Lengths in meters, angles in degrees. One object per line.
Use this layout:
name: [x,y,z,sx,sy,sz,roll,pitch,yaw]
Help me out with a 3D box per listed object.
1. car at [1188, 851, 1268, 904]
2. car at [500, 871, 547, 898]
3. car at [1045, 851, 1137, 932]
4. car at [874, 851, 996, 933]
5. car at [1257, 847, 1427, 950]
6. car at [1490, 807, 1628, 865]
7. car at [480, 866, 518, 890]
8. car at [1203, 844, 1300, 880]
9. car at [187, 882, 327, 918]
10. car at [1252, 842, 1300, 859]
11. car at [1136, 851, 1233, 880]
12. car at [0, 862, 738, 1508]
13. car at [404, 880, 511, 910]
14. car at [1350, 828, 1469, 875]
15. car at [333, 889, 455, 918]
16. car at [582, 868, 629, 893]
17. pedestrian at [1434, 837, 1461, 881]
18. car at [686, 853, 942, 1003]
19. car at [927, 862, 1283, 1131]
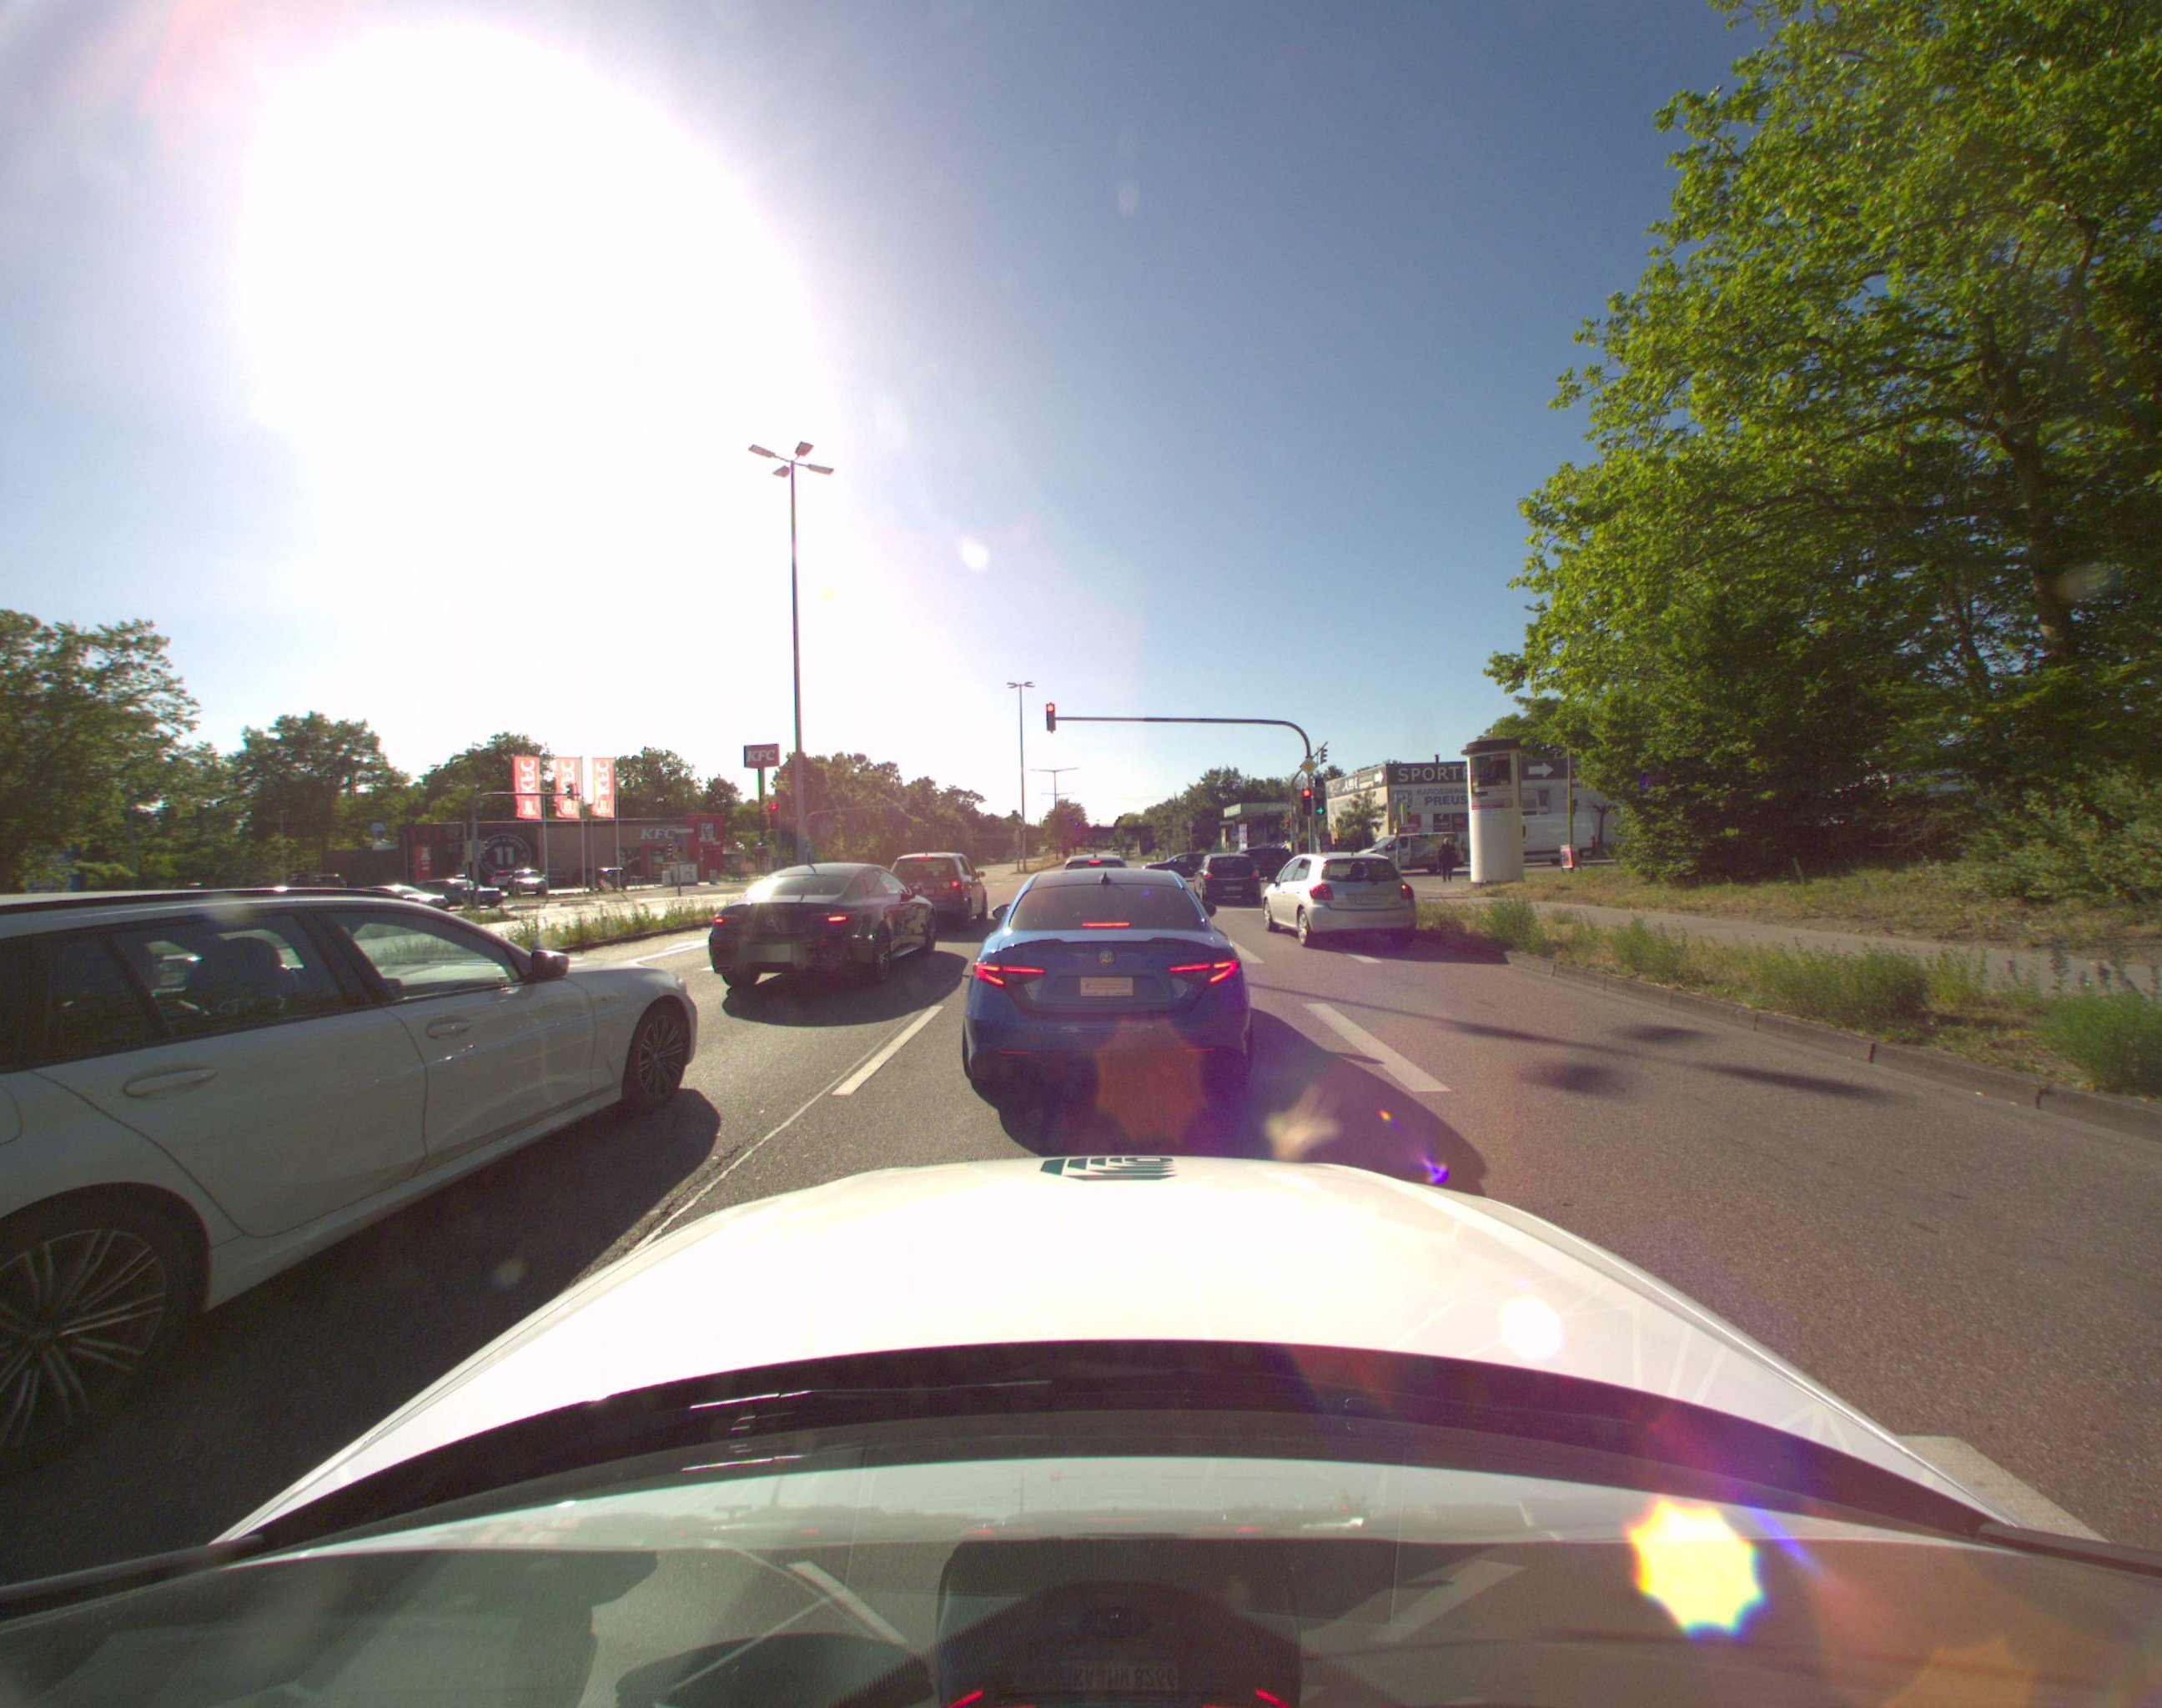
car: [4.316,0.660,24.501,1.727,1.442,4.373,0,0,2]
car: [-37.366,2.016,54.563,1.946,1.740,4.046,0,-1,-45]
car: [0.298,0.719,17.037,1.696,1.497,3.722,0,-1,3]
car: [-2.998,0.736,17.625,1.806,1.551,4.353,0,-1,0]
car: [4.368,0.664,14.290,1.777,1.537,4.109,0,0,2]
car: [24.654,-0.908,42.181,5.812,2.672,2.001,-3,-1,2]
car: [-45.458,1.866,63.590,2.011,1.813,3.727,0,-1,-43]
car: [8.119,0.390,38.976,4.291,1.650,1.638,0,-1,1]
car: [-39.083,2.183,38.699,4.608,1.579,1.936,0,-1,0]
car: [17.835,-0.313,74.456,3.971,1.552,2.001,0,-1,2]
car: [5.317,0.588,42.085,4.803,1.468,1.758,0,-1,0]
car: [-3.415,0.822,3.423,1.805,1.486,4.599,-1,0,2]
car: [-31.907,2.089,41.759,3.940,1.453,1.937,0,-1,1]
car: [15.767,-0.105,39.262,4.937,2.035,1.881,-2,-1,0]
car: [-32.170,2.310,38.215,4.070,1.252,1.871,0,-1,0]
car: [-33.899,1.861,58.033,1.946,1.740,4.046,0,-1,-45]
pedestrian: [14.201,0.185,31.582,0.814,1.669,0.514,0,-1,1]
car: [-3.207,0.782,10.862,1.806,1.551,4.544,-1,0,1]
car: [0.233,0.784,6.236,1.901,1.423,3.722,0,-1,3]
